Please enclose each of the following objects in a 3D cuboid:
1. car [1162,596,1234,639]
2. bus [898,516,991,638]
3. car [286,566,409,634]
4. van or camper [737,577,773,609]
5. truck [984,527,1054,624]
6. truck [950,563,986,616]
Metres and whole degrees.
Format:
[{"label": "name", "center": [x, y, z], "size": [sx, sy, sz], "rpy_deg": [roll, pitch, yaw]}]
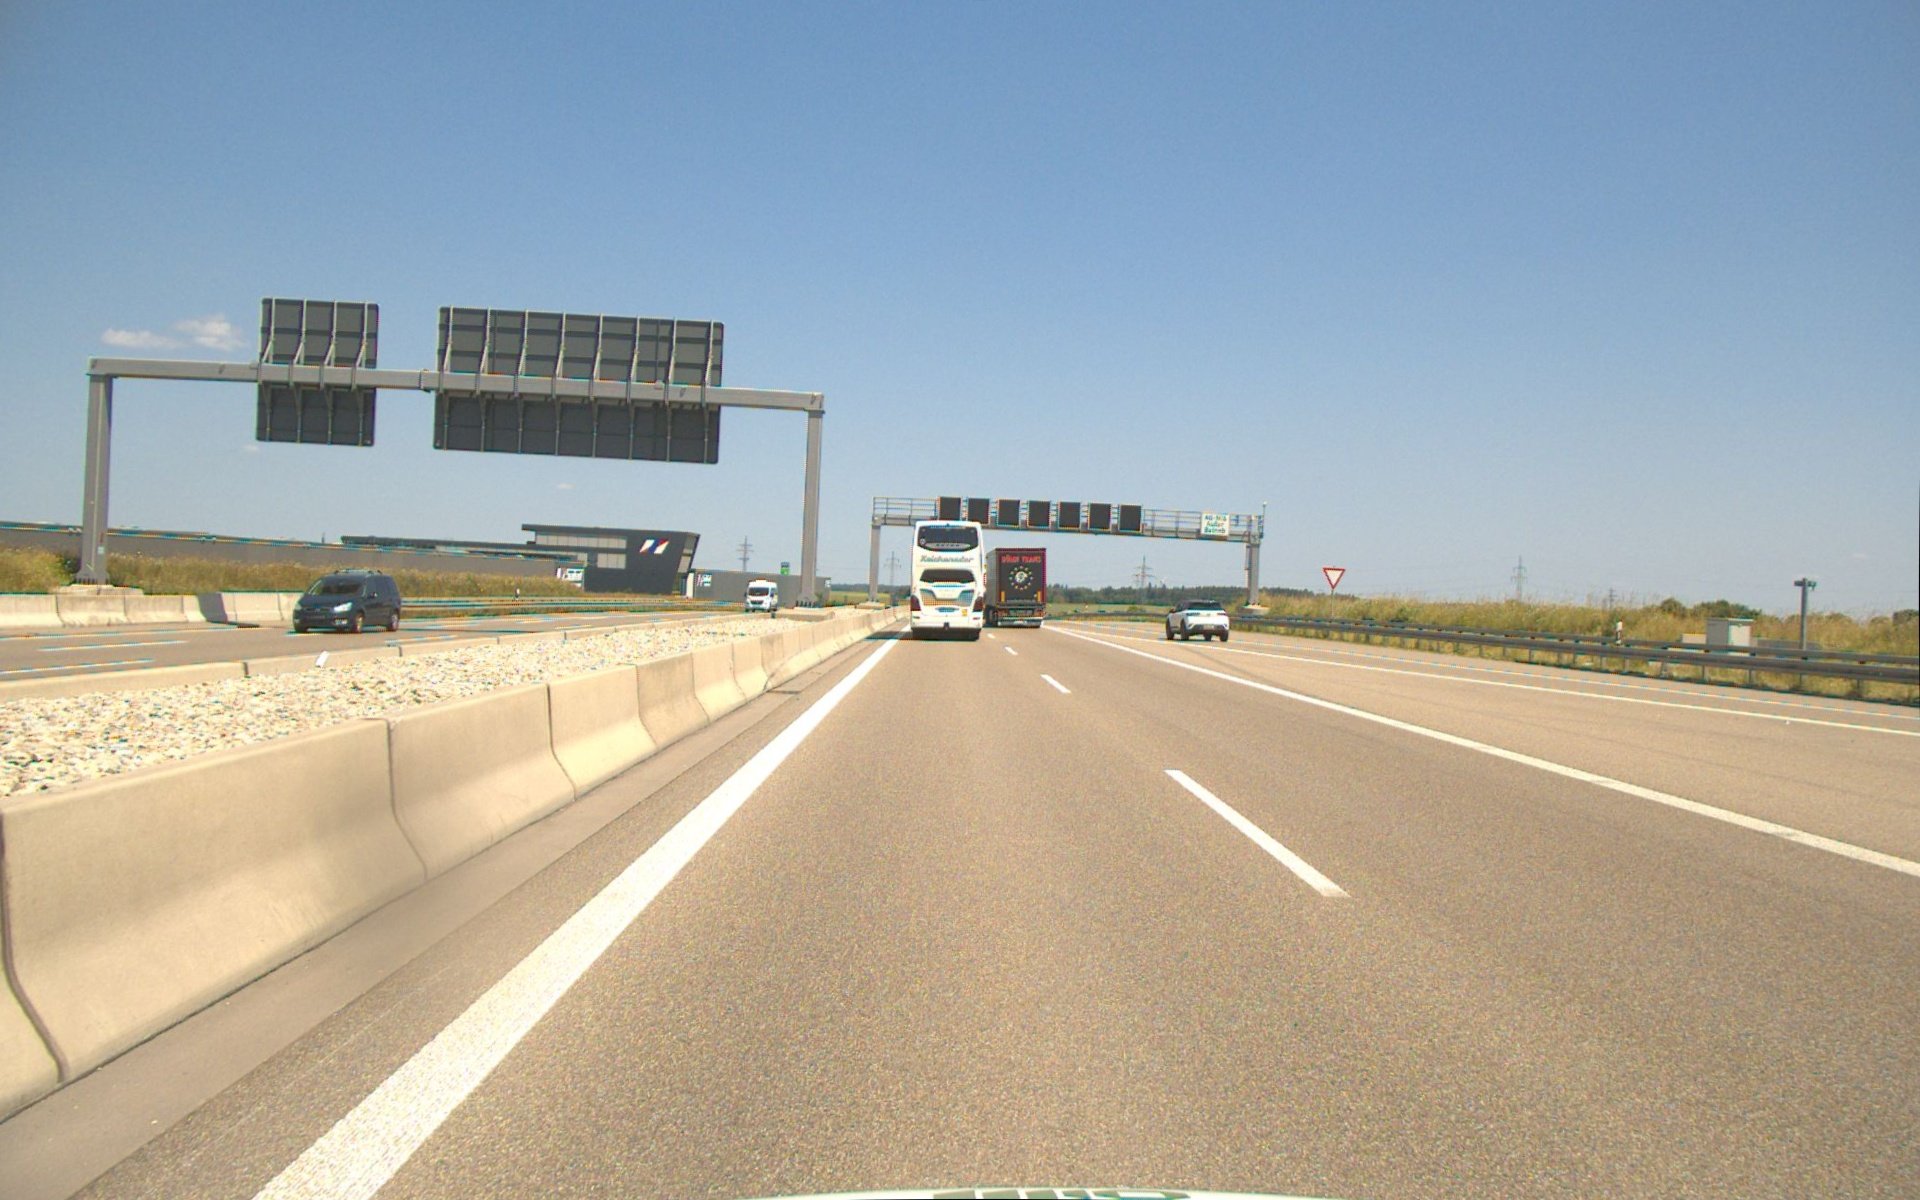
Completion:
[{"label": "car", "center": [9.162, 0.668, 63.988], "size": [1.854, 1.556, 4.258], "rpy_deg": [1, 0, -4]}, {"label": "bus", "center": [-0.685, -0.857, 60.218], "size": [2.921, 4.044, 9.100], "rpy_deg": [1, 1, -3]}, {"label": "car", "center": [-17.786, -0.014, 48.277], "size": [1.809, 1.855, 4.920], "rpy_deg": [1, 0, -1]}, {"label": "van or camper", "center": [-16.898, -0.579, 136.448], "size": [2.272, 2.603, 6.314], "rpy_deg": [1, 0, -1]}, {"label": "truck", "center": [3.049, -1.154, 89.365], "size": [3.310, 4.542, 13.566], "rpy_deg": [2, -2, 1]}, {"label": "truck", "center": [0.562, -0.790, 125.519], "size": [2.388, 3.855, 6.491], "rpy_deg": [1, 0, -2]}]
